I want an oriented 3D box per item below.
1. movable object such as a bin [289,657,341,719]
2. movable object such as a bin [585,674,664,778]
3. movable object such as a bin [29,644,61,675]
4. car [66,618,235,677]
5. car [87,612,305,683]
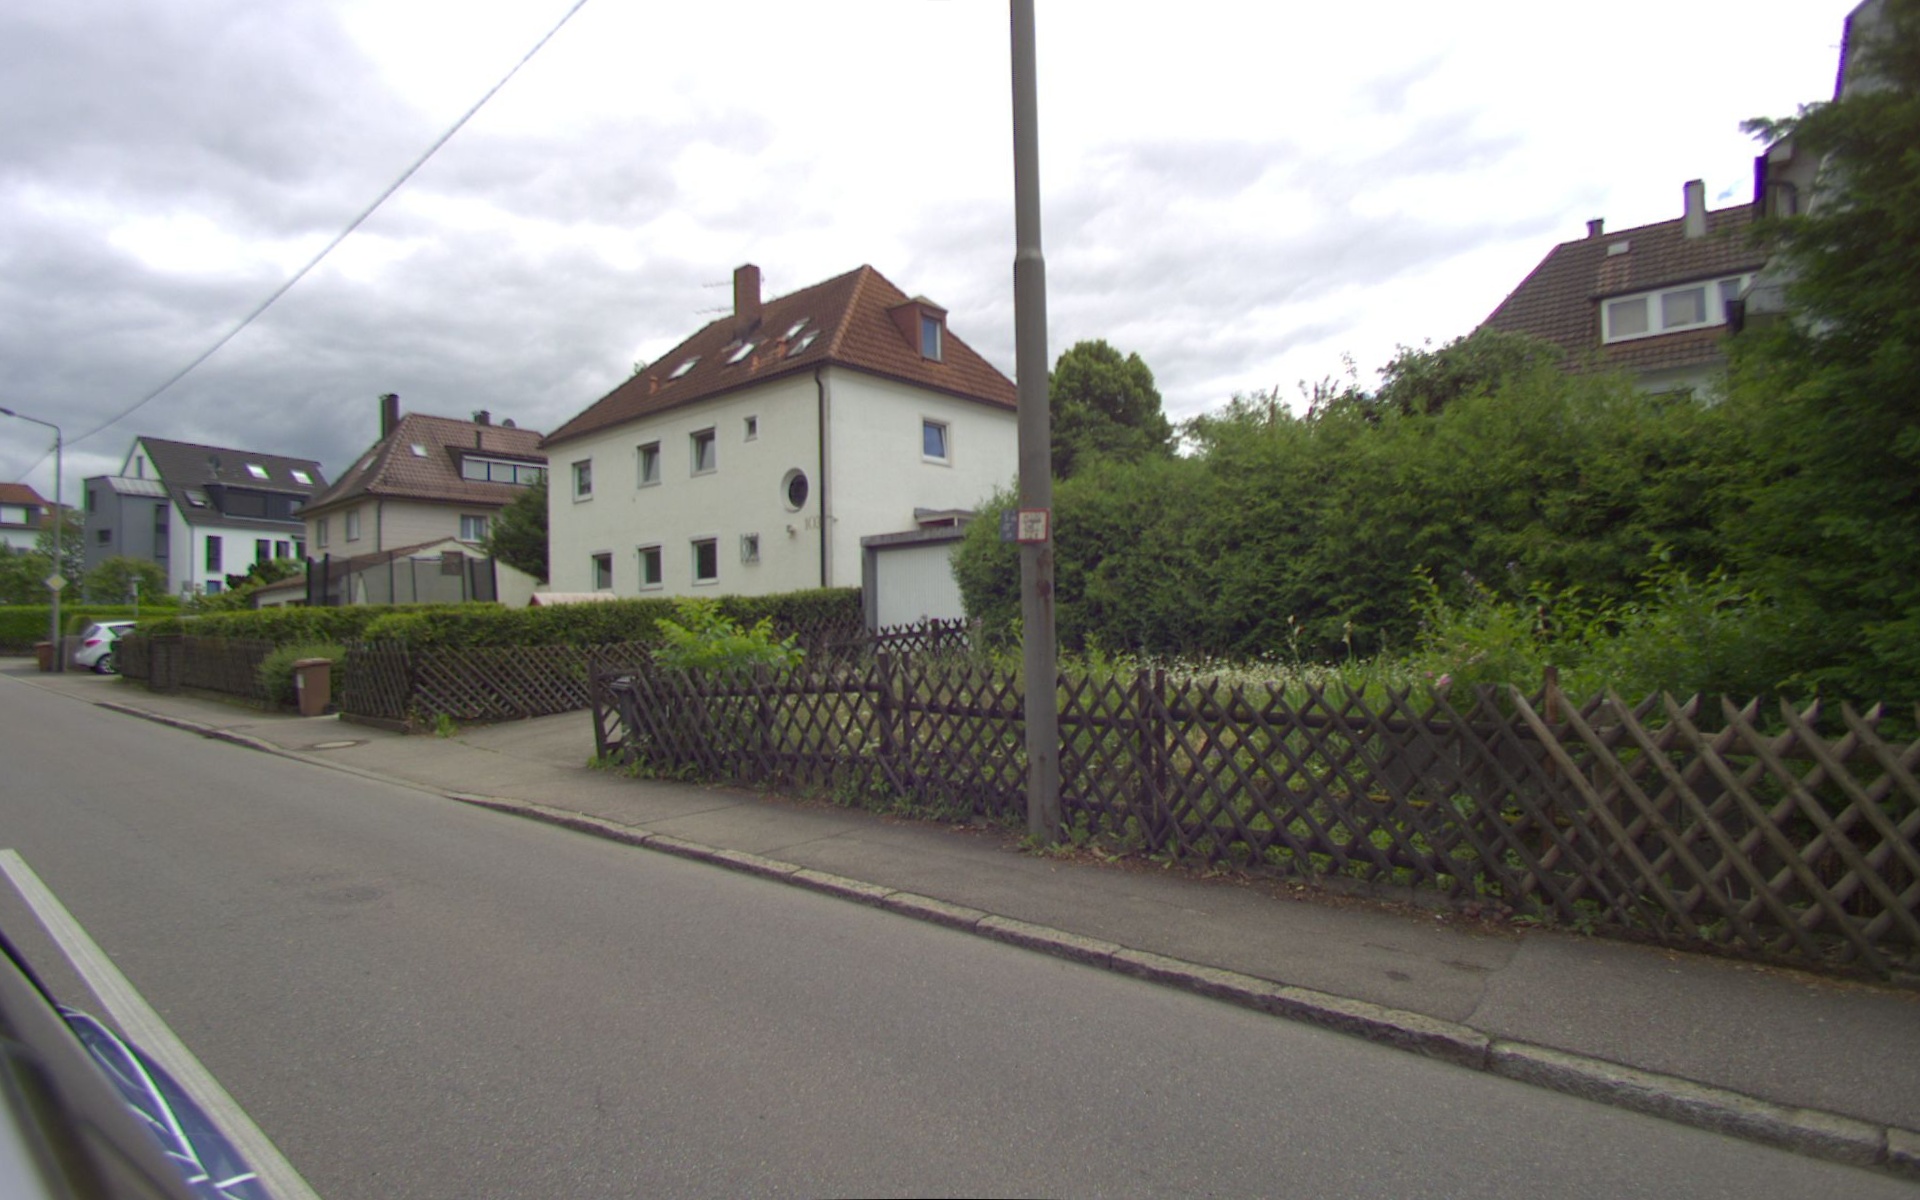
[{"bbox_3d":[-10.346,1.394,16.224,0.625,0.920,0.561,-1,-1,-39],"label":"movable object such as a bin"},{"bbox_3d":[-3.298,1.220,9.959,0.537,0.945,0.544,-3,-3,43],"label":"movable object such as a bin"},{"bbox_3d":[-29.466,1.921,32.600,0.679,0.961,0.573,1,-2,-35],"label":"movable object such as a bin"},{"bbox_3d":[-25.744,1.465,32.284,1.717,1.606,3.946,-1,1,41],"label":"car"},{"bbox_3d":[-21.629,1.287,28.823,1.881,1.682,4.624,-1,1,39],"label":"car"}]
